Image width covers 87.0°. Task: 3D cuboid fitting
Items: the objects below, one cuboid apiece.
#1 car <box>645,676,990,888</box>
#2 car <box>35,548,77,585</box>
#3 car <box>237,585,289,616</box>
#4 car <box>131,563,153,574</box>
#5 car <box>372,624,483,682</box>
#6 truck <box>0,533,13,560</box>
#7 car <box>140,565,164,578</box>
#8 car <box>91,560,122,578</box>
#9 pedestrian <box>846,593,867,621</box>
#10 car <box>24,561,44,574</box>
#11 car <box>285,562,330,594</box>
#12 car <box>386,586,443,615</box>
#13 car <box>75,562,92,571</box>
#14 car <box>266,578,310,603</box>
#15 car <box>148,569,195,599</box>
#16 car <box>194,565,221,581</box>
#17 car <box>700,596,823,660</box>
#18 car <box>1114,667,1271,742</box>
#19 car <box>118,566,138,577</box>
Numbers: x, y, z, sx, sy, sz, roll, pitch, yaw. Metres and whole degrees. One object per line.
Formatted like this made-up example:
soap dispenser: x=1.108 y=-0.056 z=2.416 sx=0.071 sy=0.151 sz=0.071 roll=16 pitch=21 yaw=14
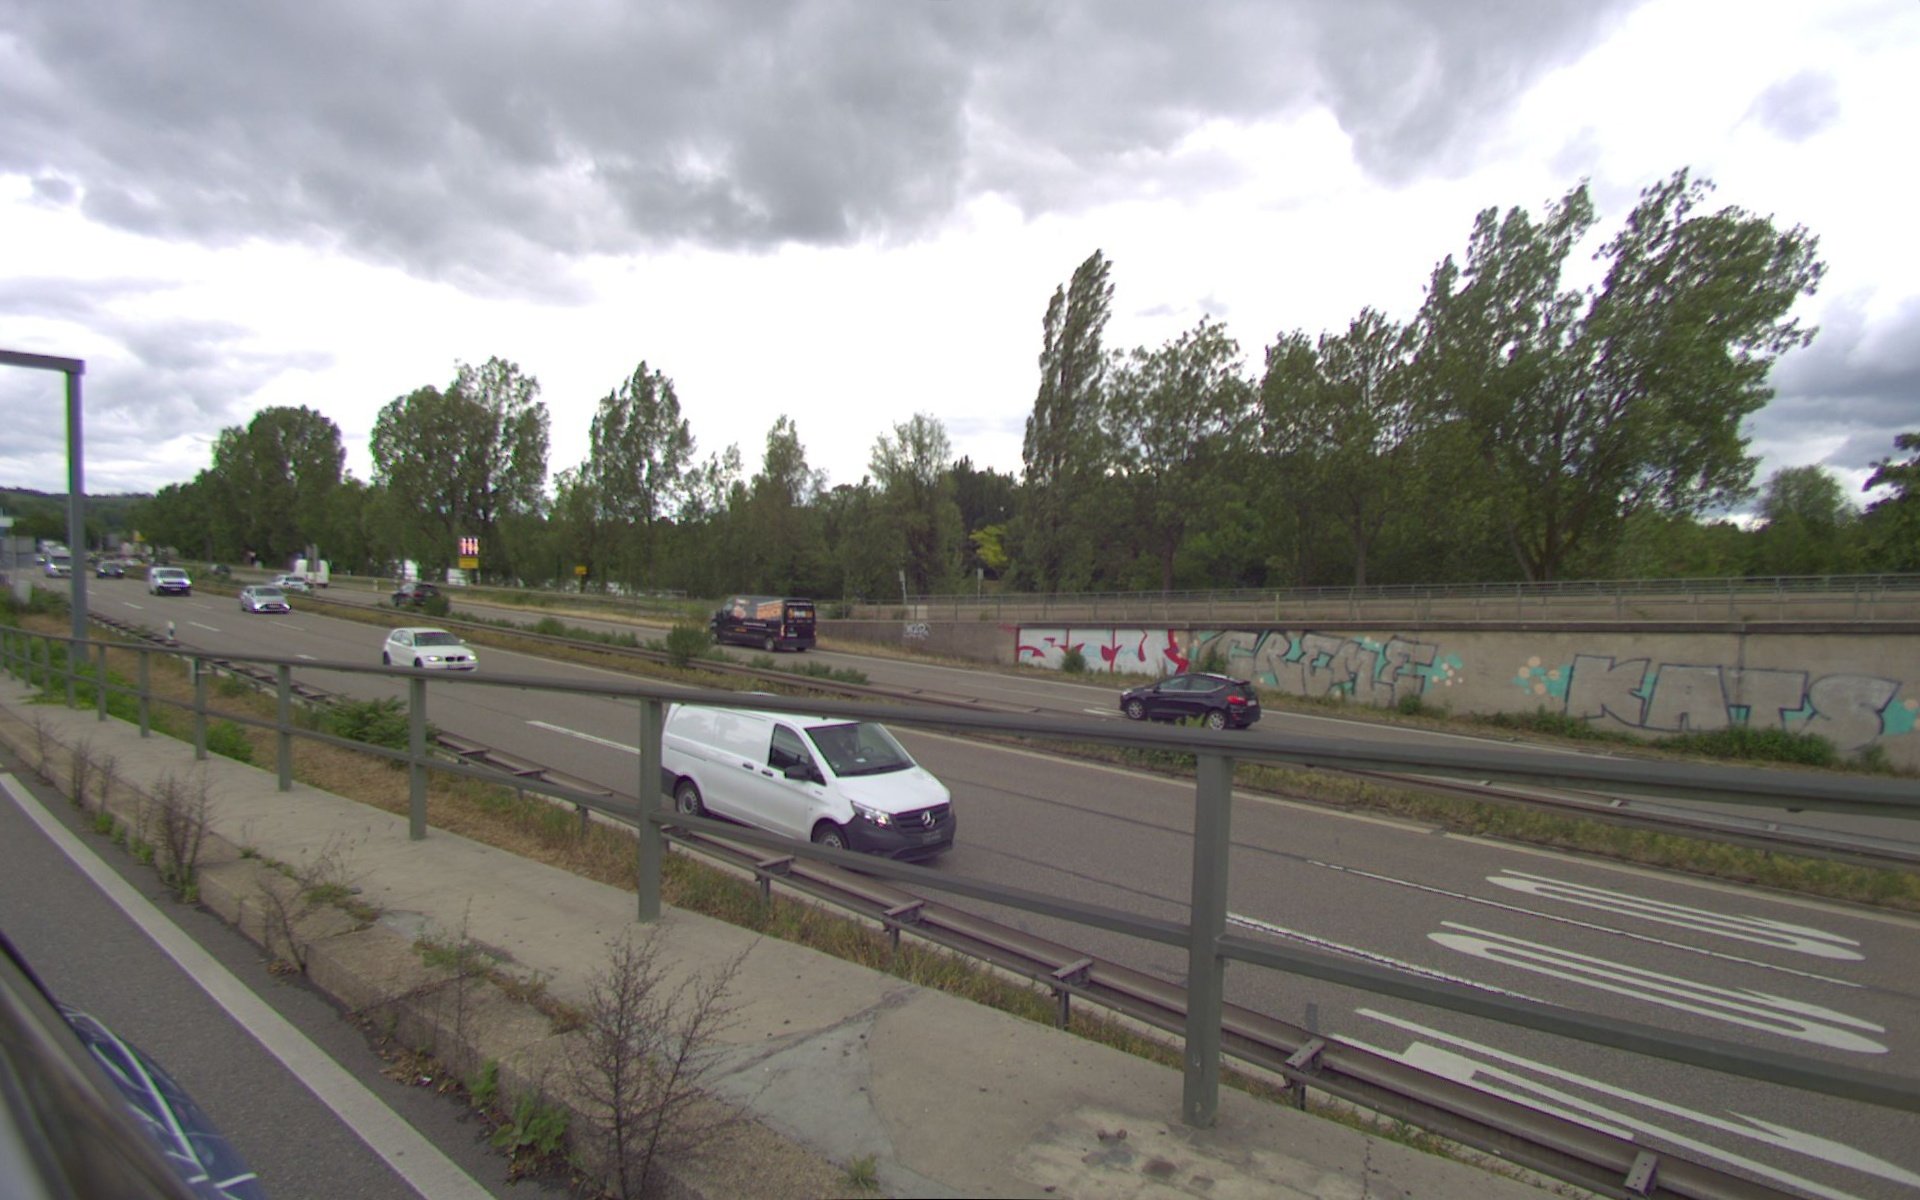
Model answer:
car: x=-2.219 y=2.361 z=14.552 sx=5.197 sy=1.890 sz=1.973 roll=4 pitch=3 yaw=41
car: x=-87.492 y=-3.282 z=97.922 sx=7.661 sy=3.264 sz=2.335 roll=4 pitch=3 yaw=43
car: x=-39.279 y=-0.019 z=56.986 sx=3.681 sy=1.564 sz=1.540 roll=3 pitch=3 yaw=41
car: x=-120.591 y=-4.644 z=149.142 sx=3.930 sy=1.662 sz=1.879 roll=2 pitch=2 yaw=41
car: x=-16.994 y=1.630 z=32.232 sx=4.164 sy=1.462 sz=1.724 roll=3 pitch=2 yaw=41
truck: x=-160.958 y=-8.984 z=169.510 sx=6.695 sy=4.283 sz=2.723 roll=3 pitch=1 yaw=41
car: x=-110.024 y=-3.850 z=137.756 sx=3.930 sy=1.662 sz=1.879 roll=2 pitch=2 yaw=41
car: x=-84.375 y=-3.070 z=100.037 sx=4.279 sy=1.726 sz=1.821 roll=4 pitch=3 yaw=42
pedestrian: x=-6.636 y=0.420 z=65.053 sx=1.077 sy=1.717 sz=0.821 roll=3 pitch=3 yaw=41
car: x=-139.475 y=-4.836 z=152.405 sx=4.278 sy=1.813 sz=1.821 roll=-1 pitch=0 yaw=42
car: x=-61.566 y=-2.102 z=95.459 sx=5.359 sy=2.800 sz=2.187 roll=4 pitch=2 yaw=41
car: x=-36.032 y=0.037 z=66.842 sx=4.332 sy=1.662 sz=1.879 roll=3 pitch=1 yaw=41
car: x=-162.528 y=-6.170 z=187.684 sx=3.930 sy=1.662 sz=1.879 roll=2 pitch=2 yaw=41
car: x=-50.089 y=-0.697 z=75.431 sx=3.930 sy=1.662 sz=1.739 roll=4 pitch=3 yaw=41
car: x=-55.353 y=-1.142 z=70.994 sx=4.898 sy=1.949 sz=1.928 roll=4 pitch=3 yaw=44
car: x=-90.855 y=-3.232 z=122.205 sx=3.930 sy=1.662 sz=1.879 roll=-2 pitch=-1 yaw=41
car: x=-9.248 y=1.204 z=46.866 sx=6.111 sy=2.566 sz=2.221 roll=3 pitch=2 yaw=40
car: x=6.393 y=2.830 z=28.044 sx=3.857 sy=1.512 sz=1.646 roll=4 pitch=1 yaw=41
car: x=-132.024 y=-4.506 z=160.644 sx=3.930 sy=1.662 sz=1.879 roll=2 pitch=2 yaw=41
